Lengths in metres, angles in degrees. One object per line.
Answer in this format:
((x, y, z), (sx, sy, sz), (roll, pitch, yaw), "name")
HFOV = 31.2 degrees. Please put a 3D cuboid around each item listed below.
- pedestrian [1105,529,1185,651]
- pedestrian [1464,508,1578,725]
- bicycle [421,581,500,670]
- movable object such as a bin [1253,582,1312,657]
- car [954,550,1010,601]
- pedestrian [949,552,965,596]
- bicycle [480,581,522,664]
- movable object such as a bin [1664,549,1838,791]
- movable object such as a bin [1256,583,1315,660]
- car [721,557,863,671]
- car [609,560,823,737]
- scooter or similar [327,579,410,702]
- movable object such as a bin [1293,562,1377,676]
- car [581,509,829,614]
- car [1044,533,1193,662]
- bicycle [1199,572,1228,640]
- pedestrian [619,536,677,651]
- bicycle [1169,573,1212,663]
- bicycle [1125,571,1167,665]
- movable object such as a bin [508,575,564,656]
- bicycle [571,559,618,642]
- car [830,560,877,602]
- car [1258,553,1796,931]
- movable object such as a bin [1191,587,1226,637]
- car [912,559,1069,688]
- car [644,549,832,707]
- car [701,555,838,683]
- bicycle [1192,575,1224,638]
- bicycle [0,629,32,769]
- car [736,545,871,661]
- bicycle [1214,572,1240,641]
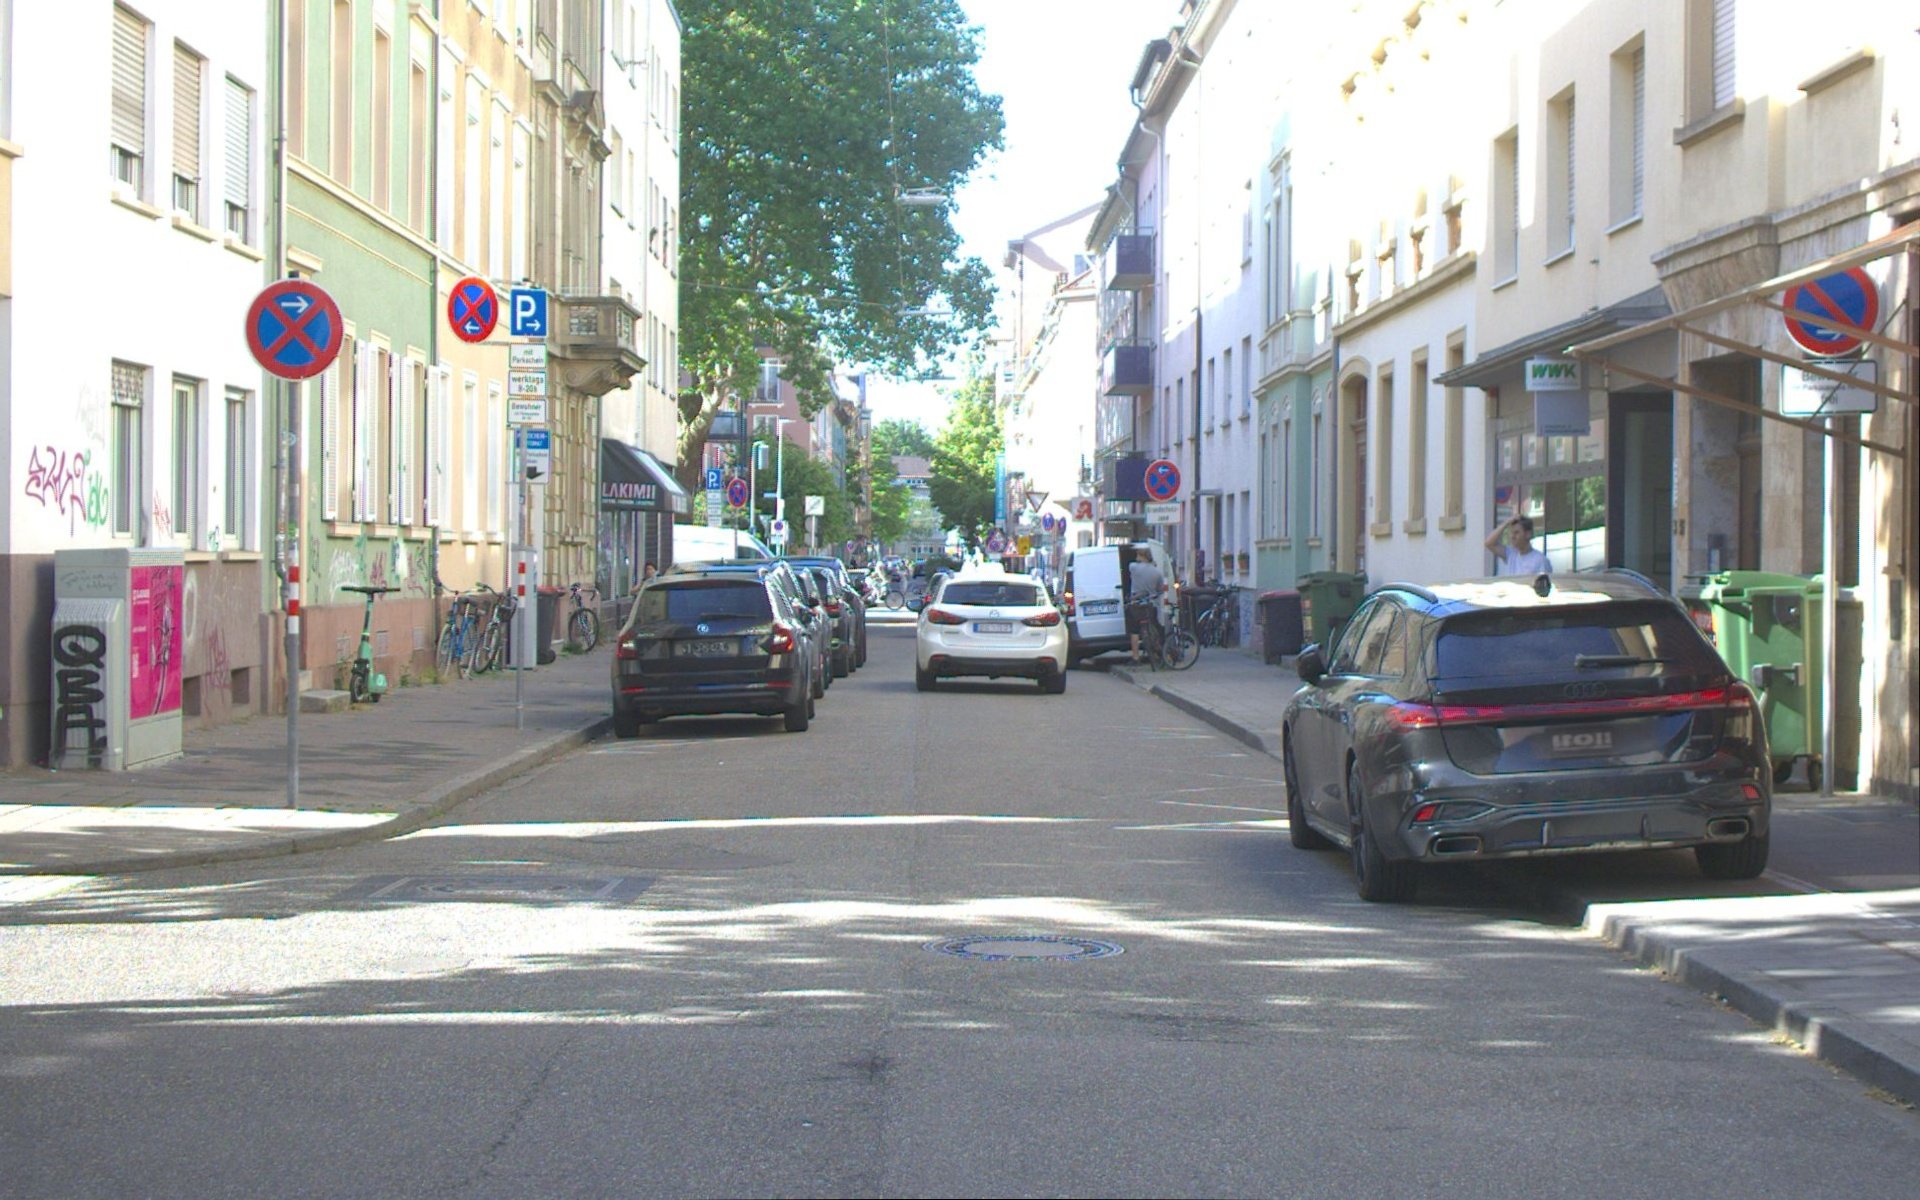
((2.811, -0.146, 52.180), (0.880, 1.830, 0.869), (1, 0, -27), "pedestrian")
((4.895, 0.136, 30.029), (0.648, 1.853, 0.749), (-2, 1, -22), "pedestrian")
((-5.942, 0.300, 40.956), (0.361, 1.025, 1.916), (0, 0, 9), "bicycle")
((4.729, 0.290, 50.453), (0.812, 1.084, 0.673), (0, 0, 2), "movable object such as a bin")
((0.866, -0.984, 138.285), (1.942, 1.941, 4.079), (2, 0, -3), "car")
((-0.141, -1.270, 168.276), (0.771, 2.111, 0.834), (0, 0, 0), "pedestrian")
((-5.911, 0.287, 44.306), (0.402, 1.052, 1.837), (0, 0, -3), "bicycle")
((4.902, 0.418, 21.374), (0.746, 1.431, 1.372), (-2, 0, 1), "movable object such as a bin")
((4.711, 0.308, 49.781), (0.797, 1.092, 0.642), (0, 0, 2), "movable object such as a bin")
((-2.336, 0.169, 48.718), (1.713, 1.526, 4.367), (0, 1, 1), "car")
((-2.212, 0.401, 32.296), (1.713, 1.483, 4.852), (-2, 0, -1), "car")
((-5.832, 0.390, 33.962), (0.454, 1.177, 1.691), (0, 0, 2), "scooter or similar")
((4.702, 0.248, 43.186), (0.837, 1.385, 1.297), (-2, -1, -2), "movable object such as a bin")
((-7.264, -1.088, 98.304), (6.739, 2.546, 2.145), (4, 0, 2), "car")
((2.506, -0.076, 55.565), (1.983, 1.877, 5.600), (-3, 1, -1), "car")
((4.622, 0.111, 62.617), (0.438, 1.202, 2.265), (0, 0, 6), "bicycle")
((-4.731, -0.102, 52.236), (0.764, 1.708, 0.883), (2, 1, -1), "pedestrian")
((3.341, 0.245, 49.927), (0.575, 1.267, 2.199), (-1, 0, 3), "bicycle")
((2.689, 0.248, 49.605), (0.575, 1.316, 2.199), (0, 1, 3), "bicycle")
((-5.870, 0.213, 47.635), (0.735, 1.085, 0.683), (0, 2, -4), "movable object such as a bin")
((-5.760, 0.011, 54.252), (0.510, 1.272, 1.867), (0, 0, 1), "bicycle")
((-4.182, -0.759, 135.067), (1.769, 1.583, 3.726), (0, 1, -1), "car")
((2.642, 0.586, 17.164), (1.801, 1.573, 4.897), (1, 0, 0), "car")
((4.691, 0.223, 64.975), (0.577, 0.921, 0.607), (-2, 0, 0), "movable object such as a bin")
((0.339, 0.258, 42.616), (1.823, 1.509, 3.824), (1, 0, -1), "car")
((-2.399, 0.259, 38.155), (1.744, 1.609, 4.603), (-1, 1, 0), "car")
((-2.398, 0.212, 43.950), (1.615, 1.548, 3.978), (0, 1, -1), "car")
((4.601, 0.121, 63.706), (0.568, 1.149, 1.868), (0, 0, 4), "bicycle")
((-6.627, 0.626, 21.585), (0.431, 0.879, 1.566), (3, 2, 39), "bicycle")
((-2.421, 0.019, 54.236), (1.936, 1.730, 5.142), (0, 1, 0), "car")
((4.755, 0.111, 61.281), (0.405, 1.202, 2.159), (0, 0, 3), "bicycle")
